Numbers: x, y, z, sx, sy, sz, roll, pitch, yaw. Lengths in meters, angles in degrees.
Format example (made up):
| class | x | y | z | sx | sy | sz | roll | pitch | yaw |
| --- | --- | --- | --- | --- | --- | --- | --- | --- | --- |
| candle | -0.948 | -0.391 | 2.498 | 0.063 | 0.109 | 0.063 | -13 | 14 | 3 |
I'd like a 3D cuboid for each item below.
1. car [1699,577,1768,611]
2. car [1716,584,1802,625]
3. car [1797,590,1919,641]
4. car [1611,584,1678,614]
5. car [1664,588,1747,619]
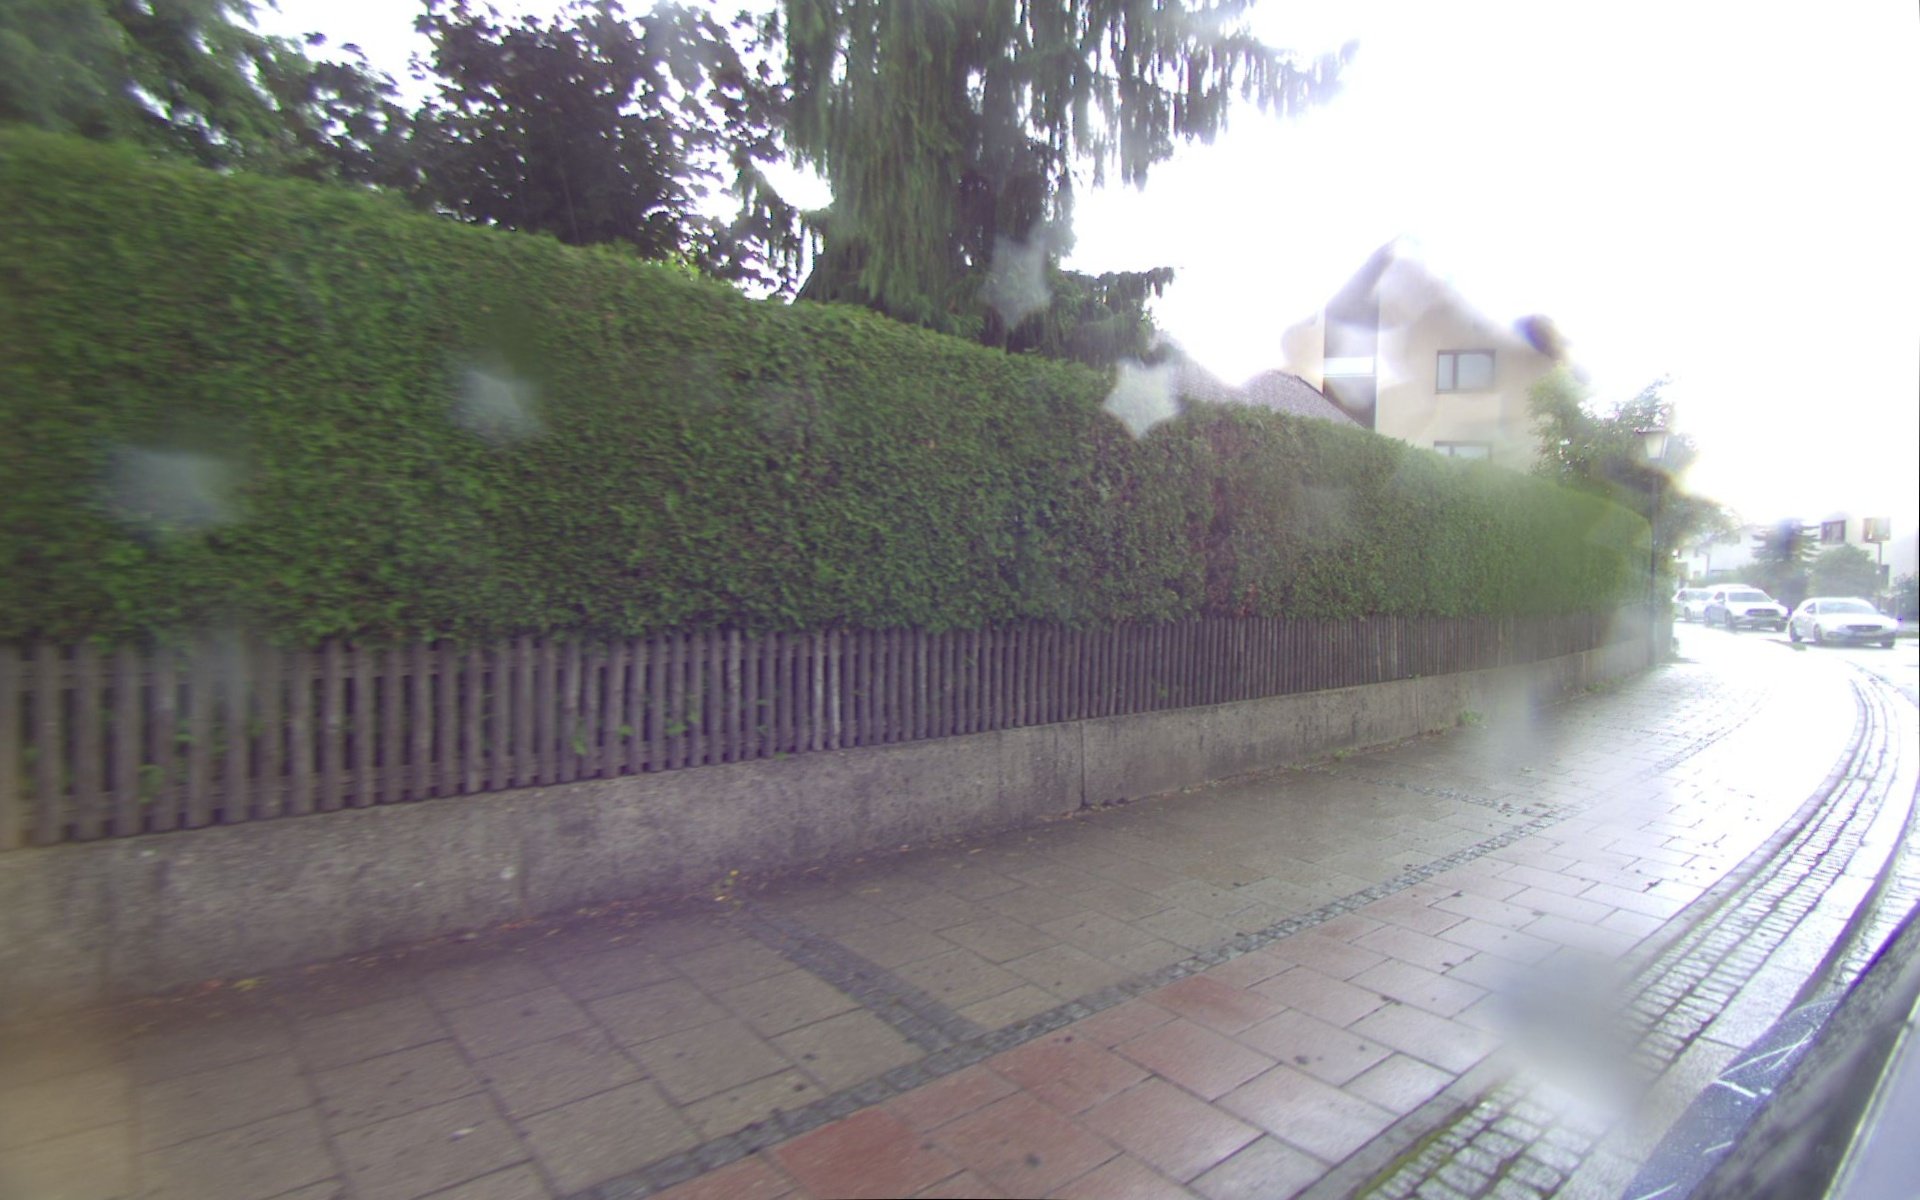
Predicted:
| class | x | y | z | sx | sy | sz | roll | pitch | yaw |
| --- | --- | --- | --- | --- | --- | --- | --- | --- | --- |
| car | 41.980 | -0.351 | 55.043 | 1.624 | 1.787 | 4.306 | -1 | 0 | 18 |
| car | 32.304 | 0.163 | 41.044 | 1.776 | 1.568 | 4.245 | -1 | 0 | 25 |
| car | 27.271 | 0.439 | 30.866 | 1.778 | 1.412 | 4.241 | -1 | 0 | 27 |
| car | 37.647 | -0.055 | 55.787 | 1.770 | 1.568 | 4.259 | -1 | 0 | 16 |
| car | 35.368 | 0.157 | 48.137 | 1.770 | 1.391 | 4.259 | -1 | 0 | 16 |
